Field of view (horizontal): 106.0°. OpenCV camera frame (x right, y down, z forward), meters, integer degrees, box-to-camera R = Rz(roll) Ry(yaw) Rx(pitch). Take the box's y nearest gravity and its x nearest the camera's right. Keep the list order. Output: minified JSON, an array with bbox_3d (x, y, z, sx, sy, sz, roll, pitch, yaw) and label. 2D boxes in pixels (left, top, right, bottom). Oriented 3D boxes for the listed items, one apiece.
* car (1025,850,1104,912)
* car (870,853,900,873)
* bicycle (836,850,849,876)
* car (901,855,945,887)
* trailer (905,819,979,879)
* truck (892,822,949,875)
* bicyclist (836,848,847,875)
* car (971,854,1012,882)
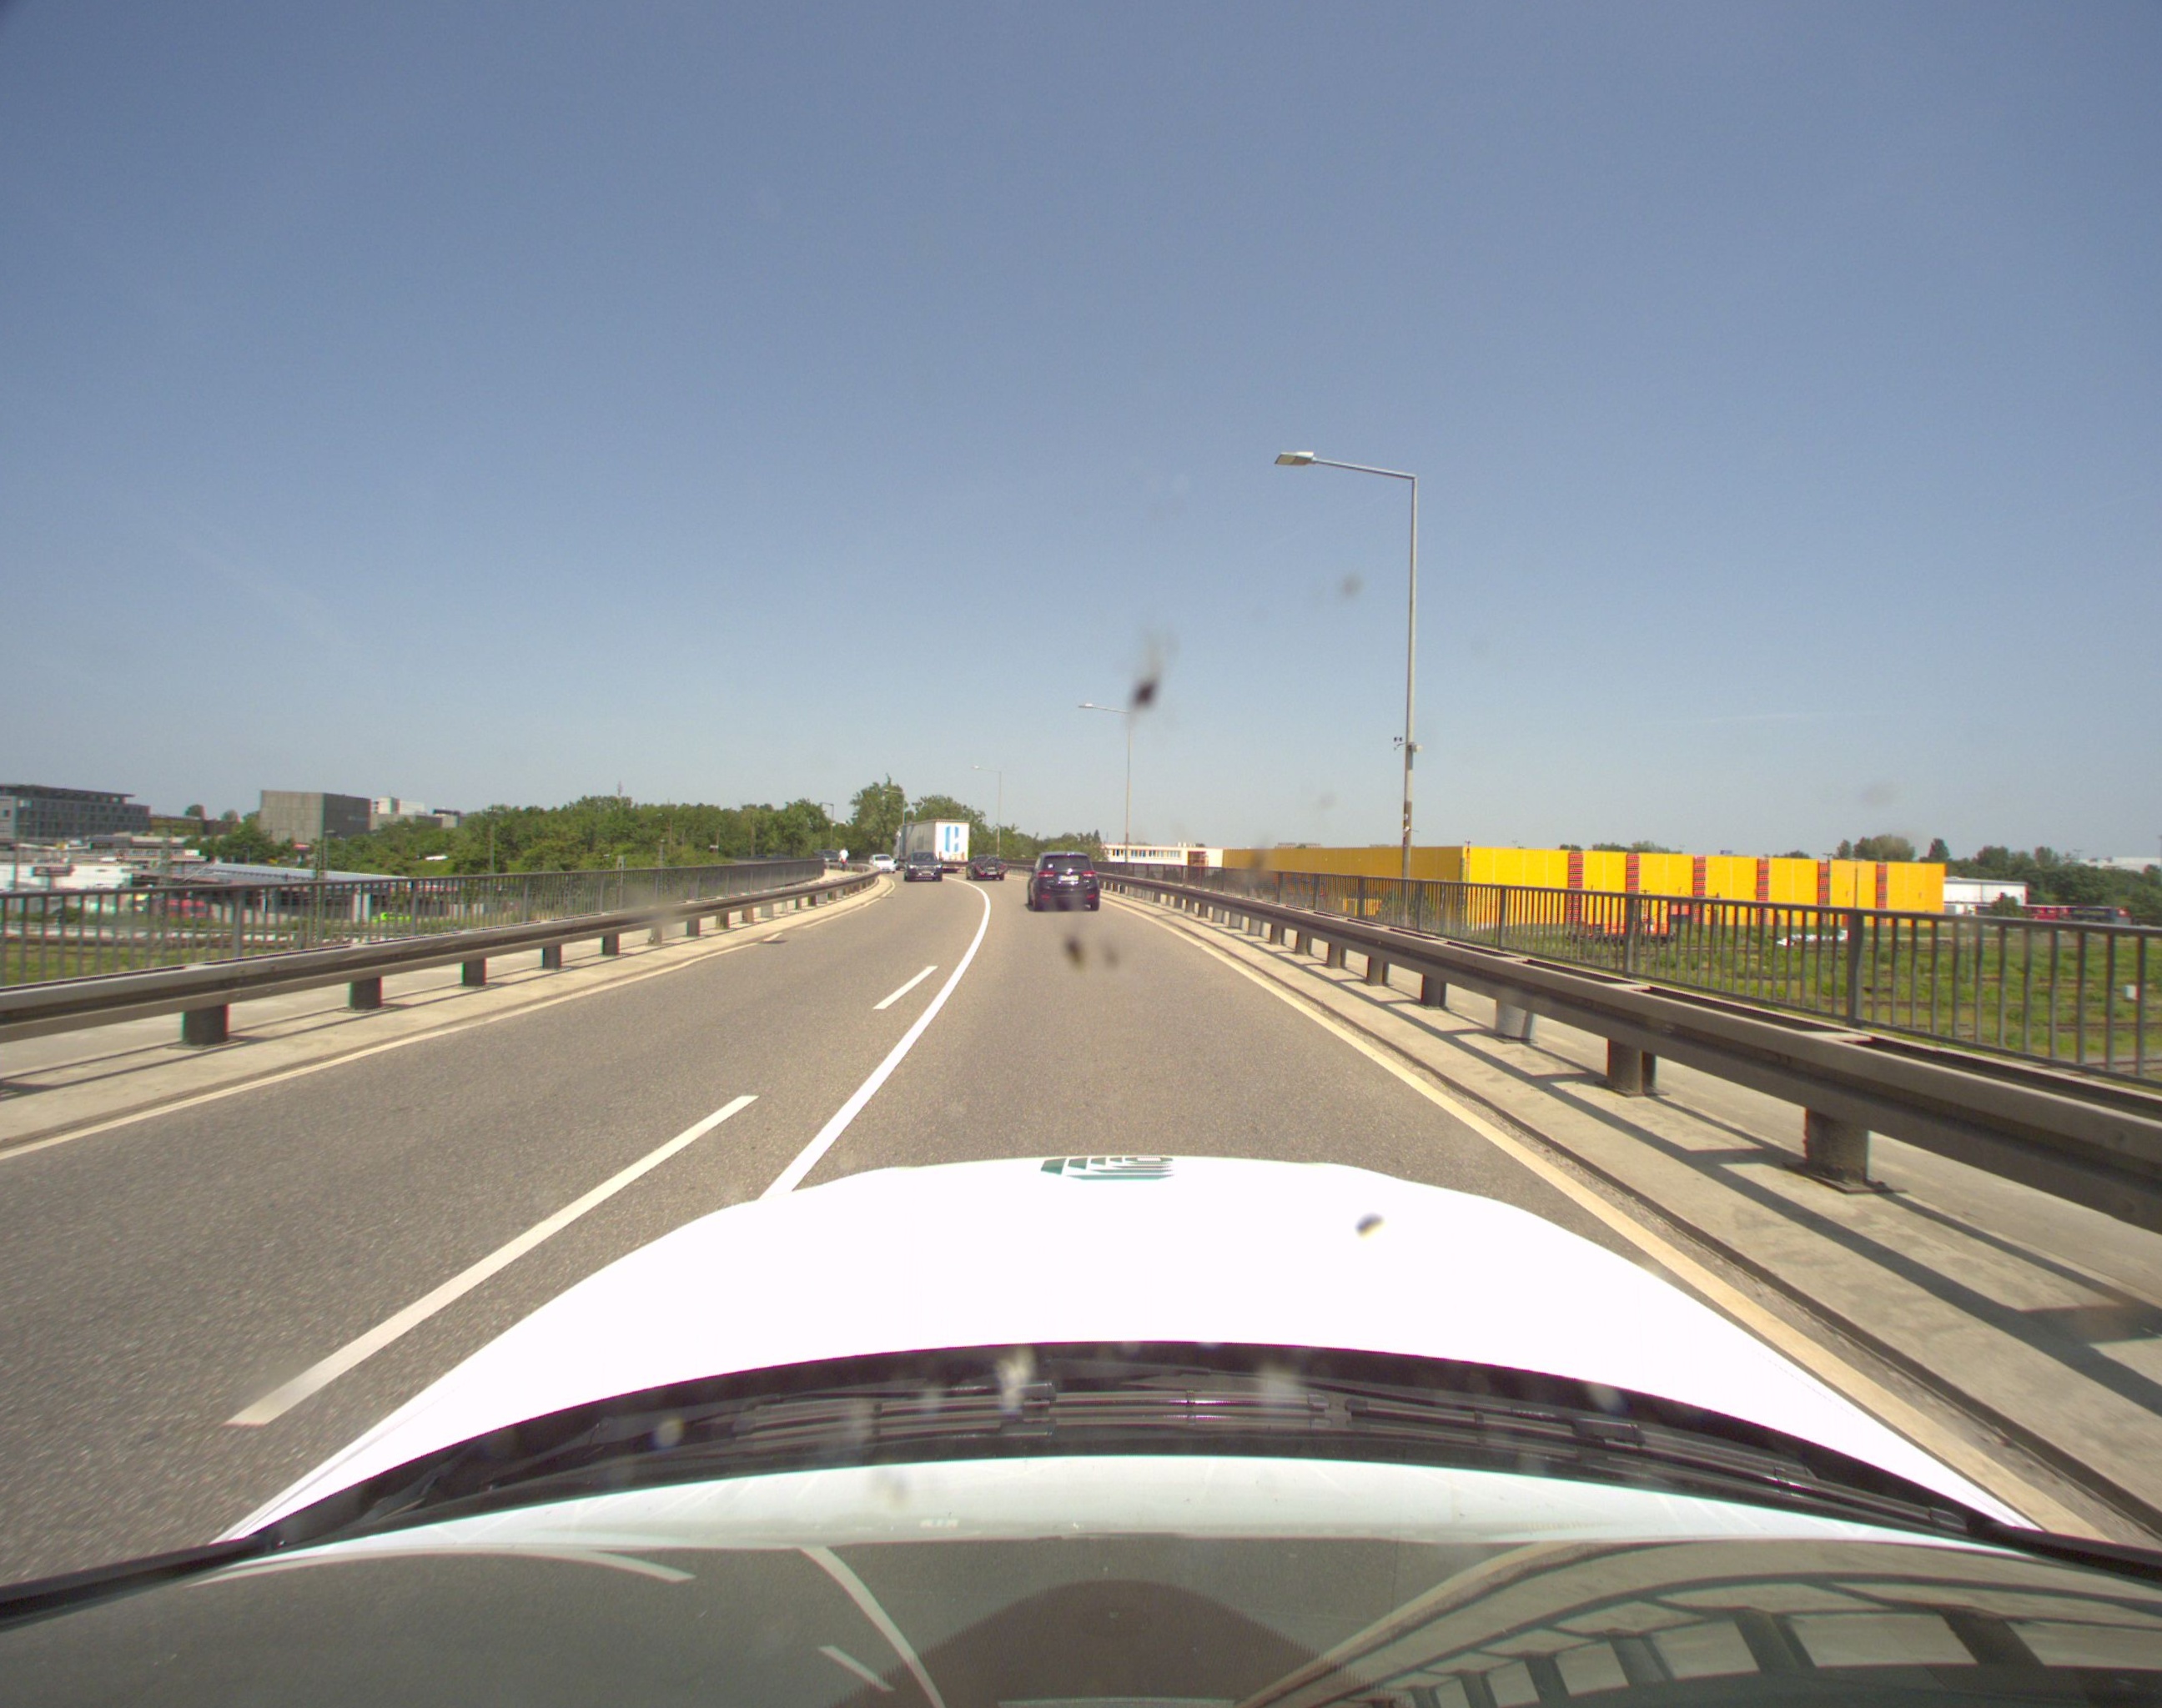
[{"bbox_3d":[-0.551,0.678,22.959,1.919,1.574,3.884,0,0,-6],"label":"car"},{"bbox_3d":[-15.173,0.661,62.955,1.671,1.464,3.460,0,0,-23],"label":"car"},{"bbox_3d":[-17.109,0.609,58.363,0.701,1.801,2.165,0,0,-22],"label":"bicycle"},{"bbox_3d":[-8.874,0.912,45.535,1.847,1.636,4.206,-1,1,-19],"label":"car"},{"bbox_3d":[-11.369,-0.387,65.393,3.584,4.384,11.357,0,0,-22],"label":"trailer"},{"bbox_3d":[-14.330,-0.496,72.370,3.590,4.440,6.462,0,0,-25],"label":"truck"},{"bbox_3d":[-17.129,0.535,58.231,0.627,1.886,0.707,0,0,-23],"label":"bicyclist"},{"bbox_3d":[-5.070,0.757,45.578,2.012,1.429,3.763,0,0,-11],"label":"car"}]
